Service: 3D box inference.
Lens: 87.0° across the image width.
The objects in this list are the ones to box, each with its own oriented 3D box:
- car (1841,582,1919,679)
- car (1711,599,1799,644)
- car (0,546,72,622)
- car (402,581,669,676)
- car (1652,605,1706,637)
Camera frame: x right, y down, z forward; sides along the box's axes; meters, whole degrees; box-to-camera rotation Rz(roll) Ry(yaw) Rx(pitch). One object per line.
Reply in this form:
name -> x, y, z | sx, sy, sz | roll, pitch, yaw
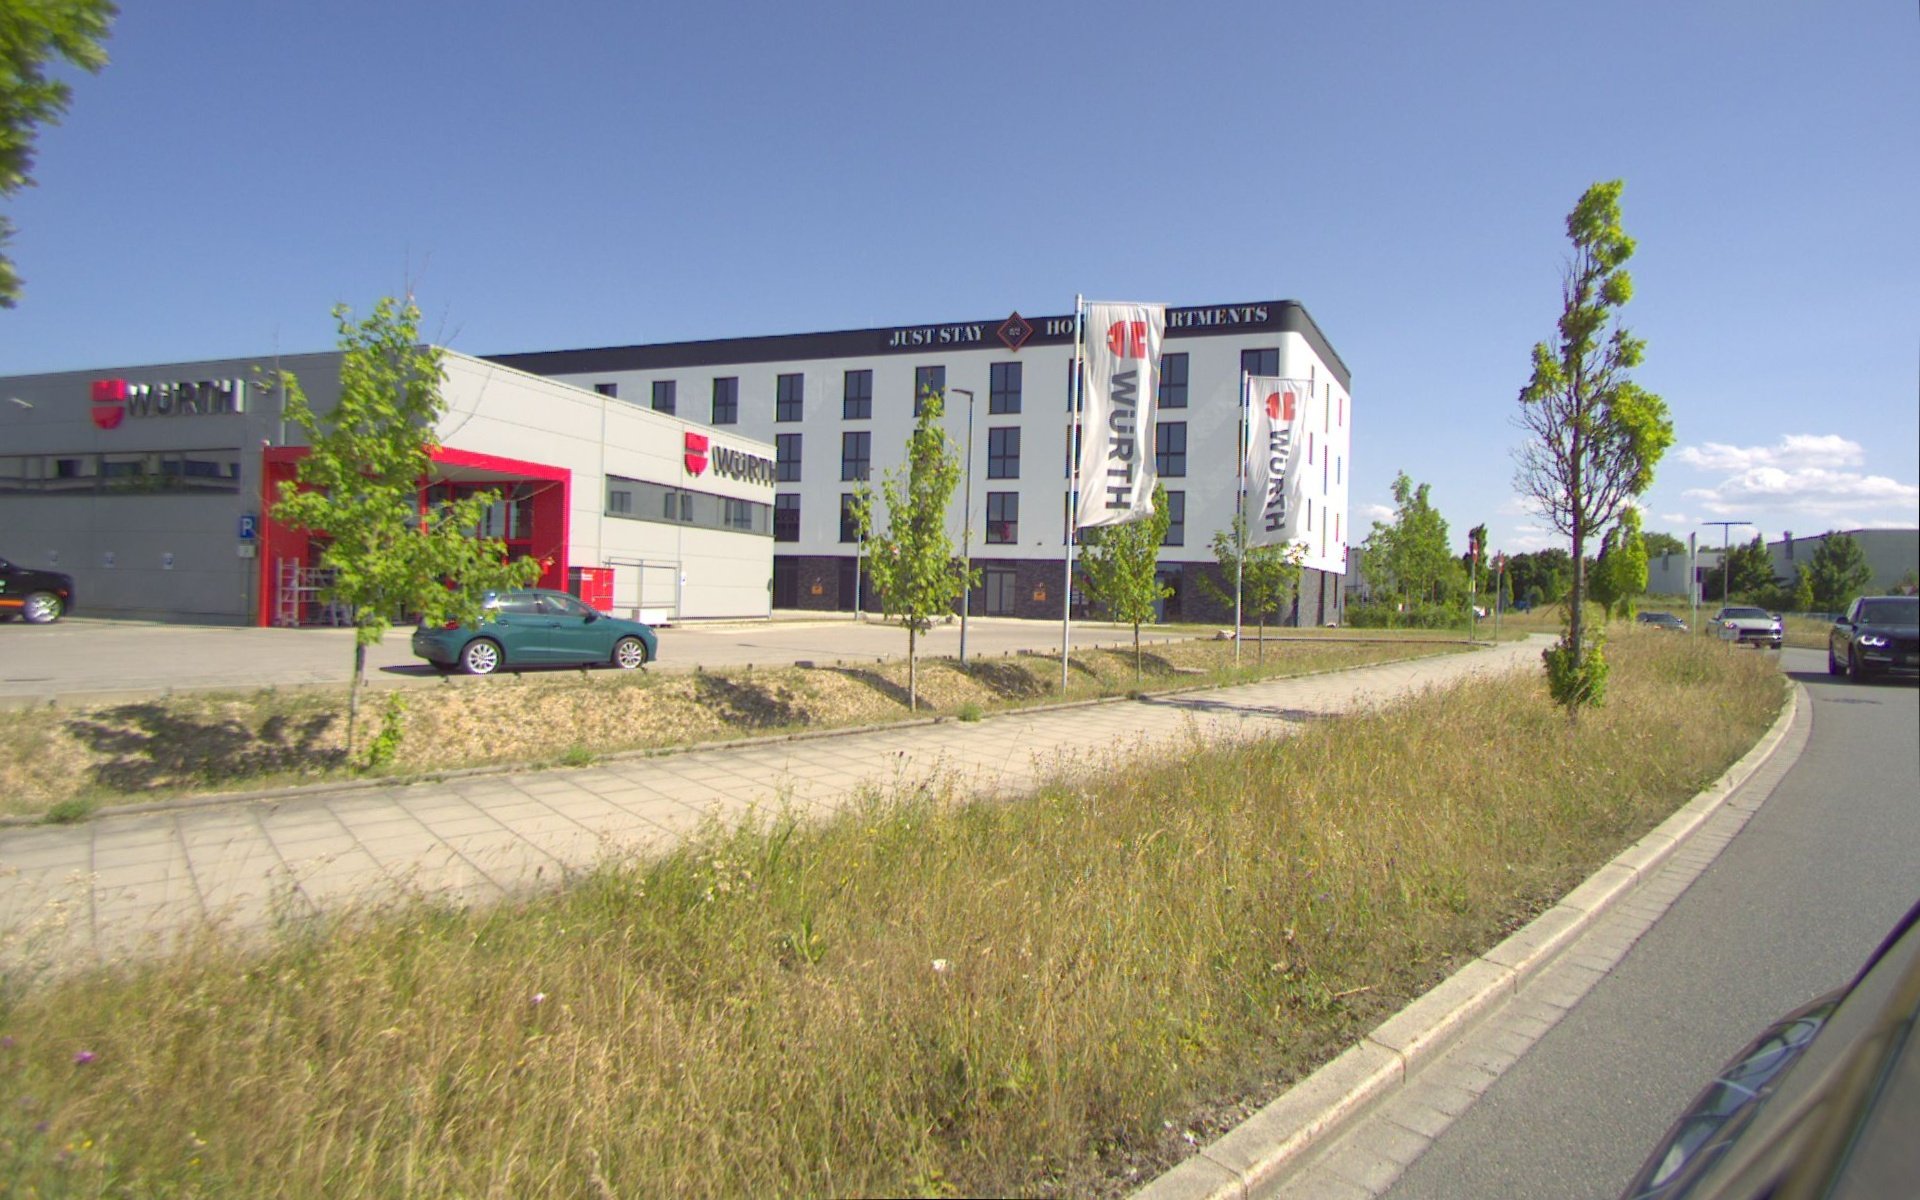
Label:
car -> 18.560, 0.607, 19.521 | 1.890, 1.701, 4.409 | 1, -1, 35
car -> 32.333, 0.889, 41.290 | 2.097, 1.664, 4.726 | 1, -1, 29
car -> -24.504, -0.407, 23.959 | 2.024, 1.838, 4.891 | 1, 1, 20
car -> -7.140, 0.434, 17.312 | 1.513, 1.425, 3.936 | 2, 1, 44
car -> 41.782, 1.212, 58.880 | 1.740, 1.709, 4.343 | 1, 1, 25
